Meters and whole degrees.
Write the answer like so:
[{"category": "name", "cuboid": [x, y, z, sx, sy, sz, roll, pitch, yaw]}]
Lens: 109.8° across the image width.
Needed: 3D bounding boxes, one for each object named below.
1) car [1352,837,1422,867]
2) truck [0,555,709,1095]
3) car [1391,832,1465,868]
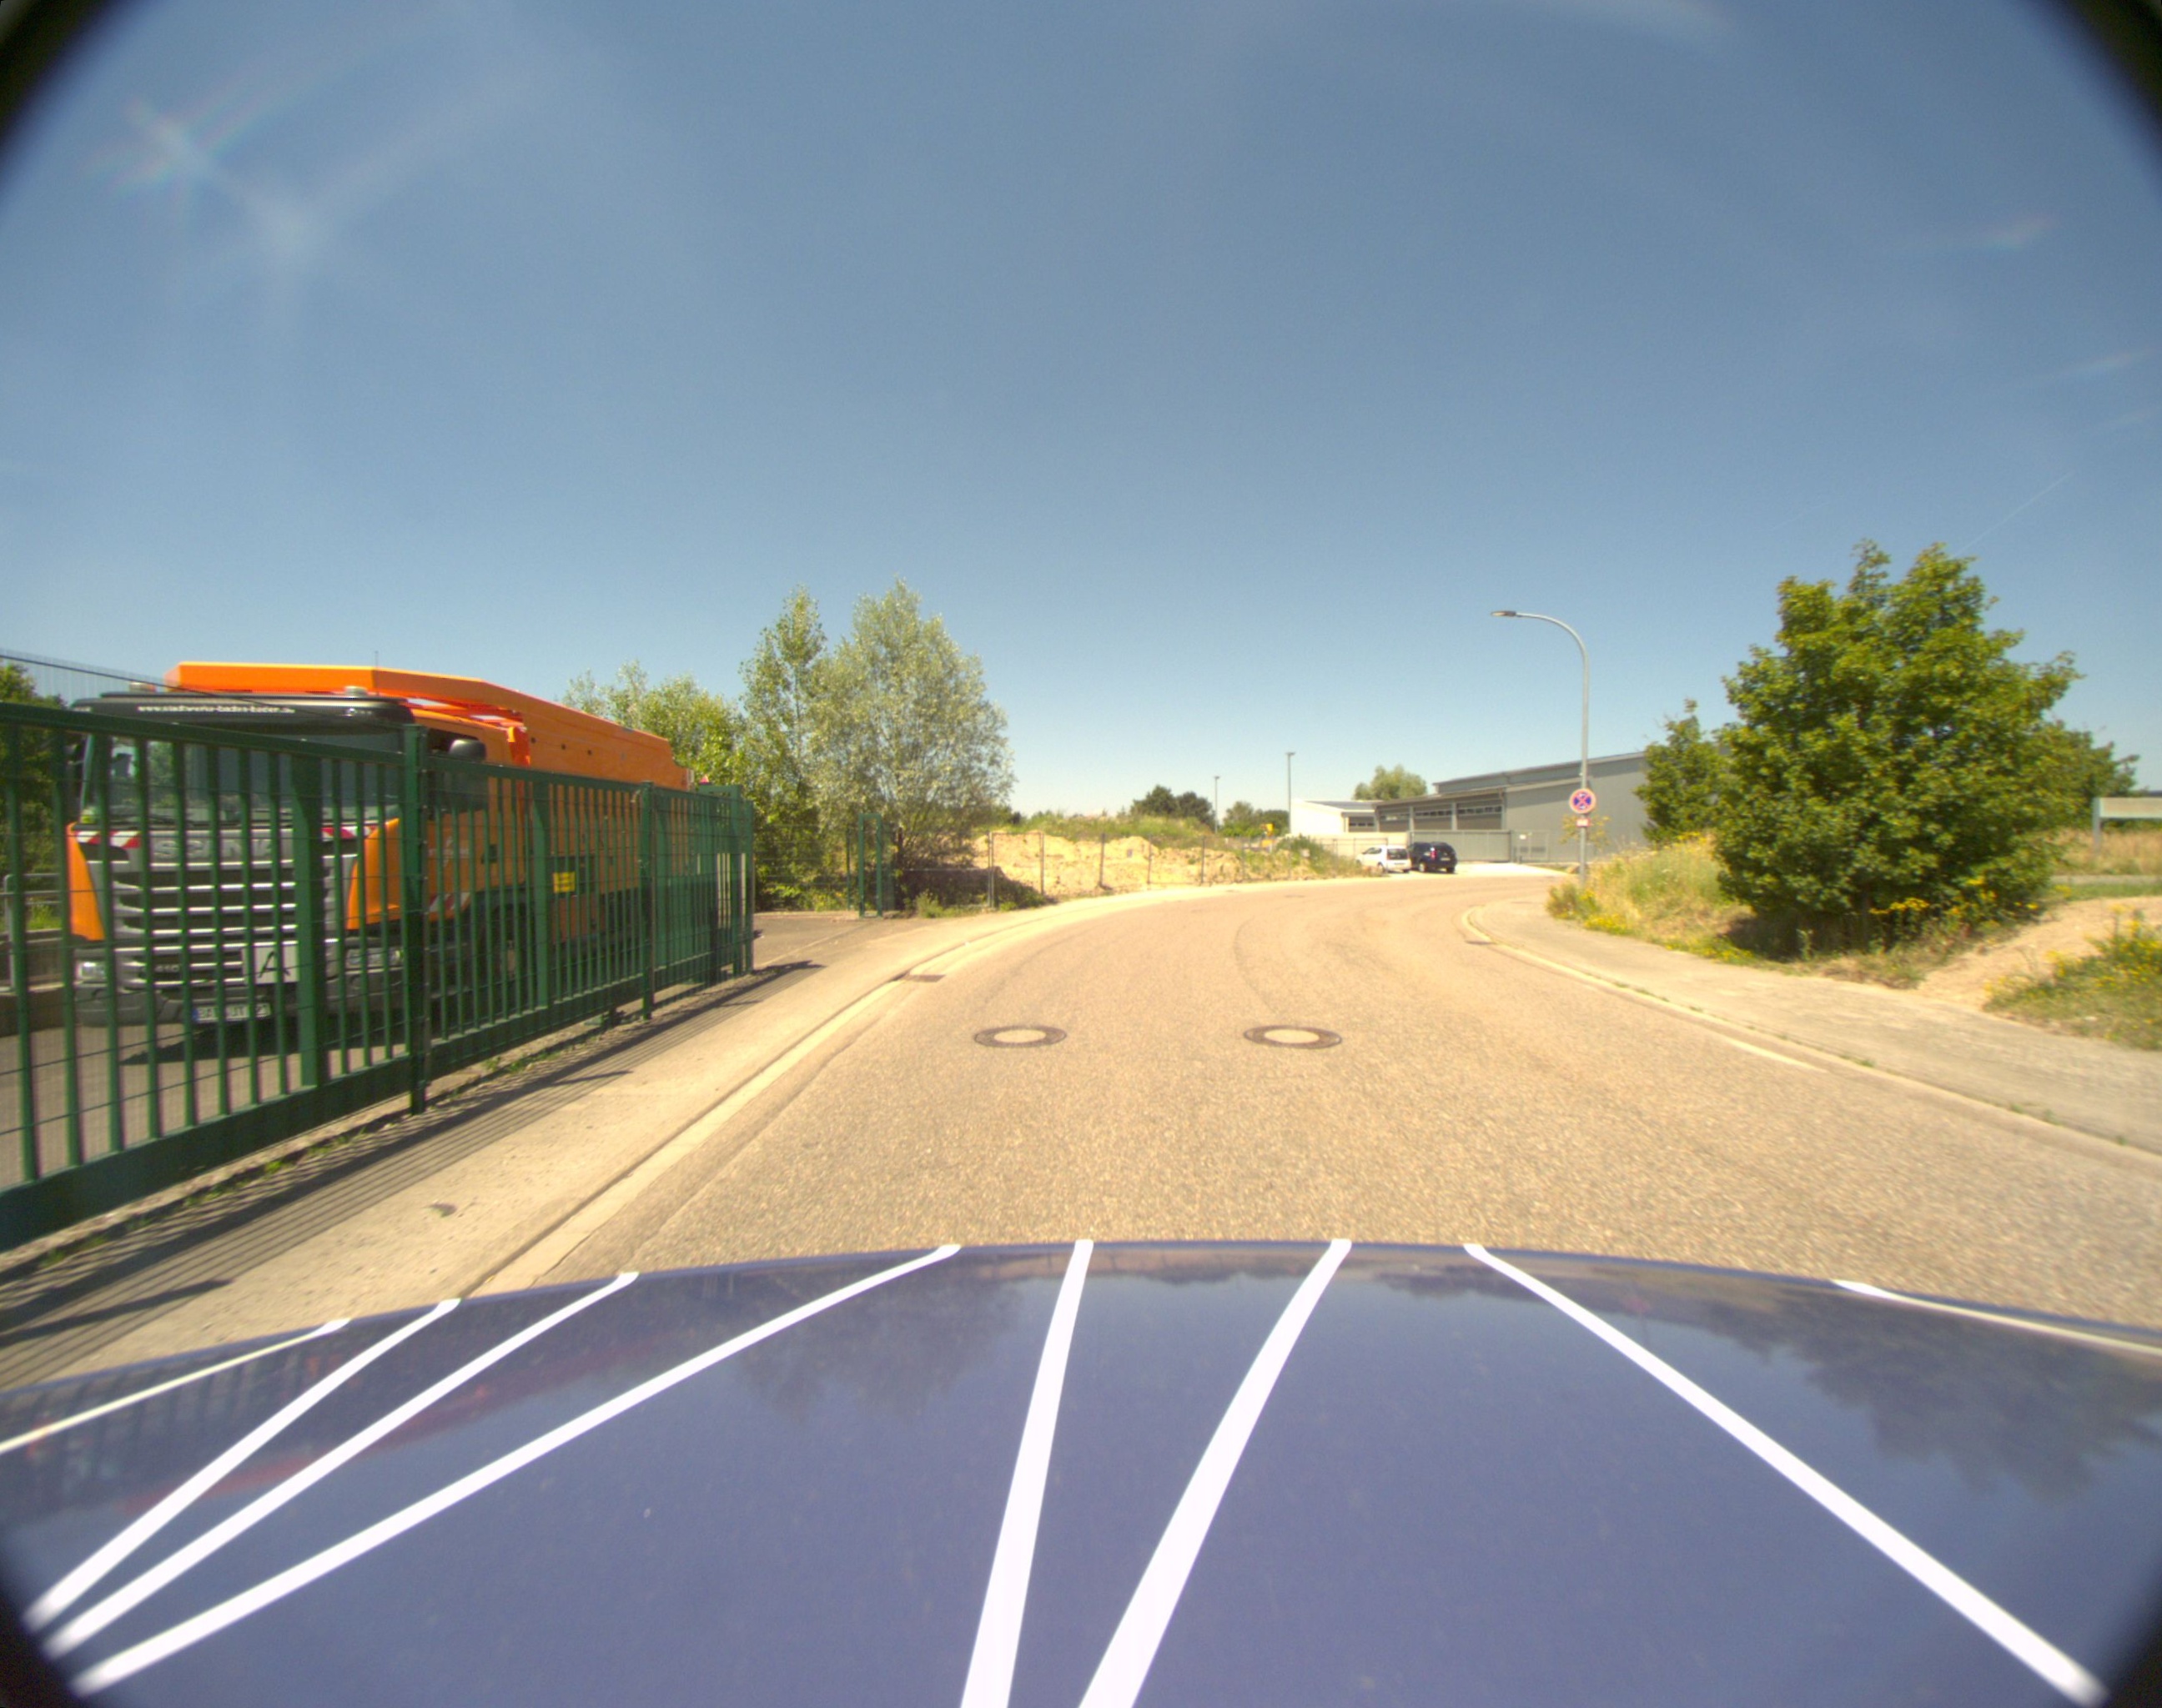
[{"category": "car", "cuboid": [16.874, -0.149, 42.129, 1.892, 1.454, 4.018, 0, 4, -7]}, {"category": "truck", "cuboid": [-8.240, -0.292, 9.582, 4.165, 3.785, 8.601, 0, 2, -10]}, {"category": "car", "cuboid": [19.258, -0.294, 42.391, 1.857, 1.647, 4.016, 0, 6, -7]}]
